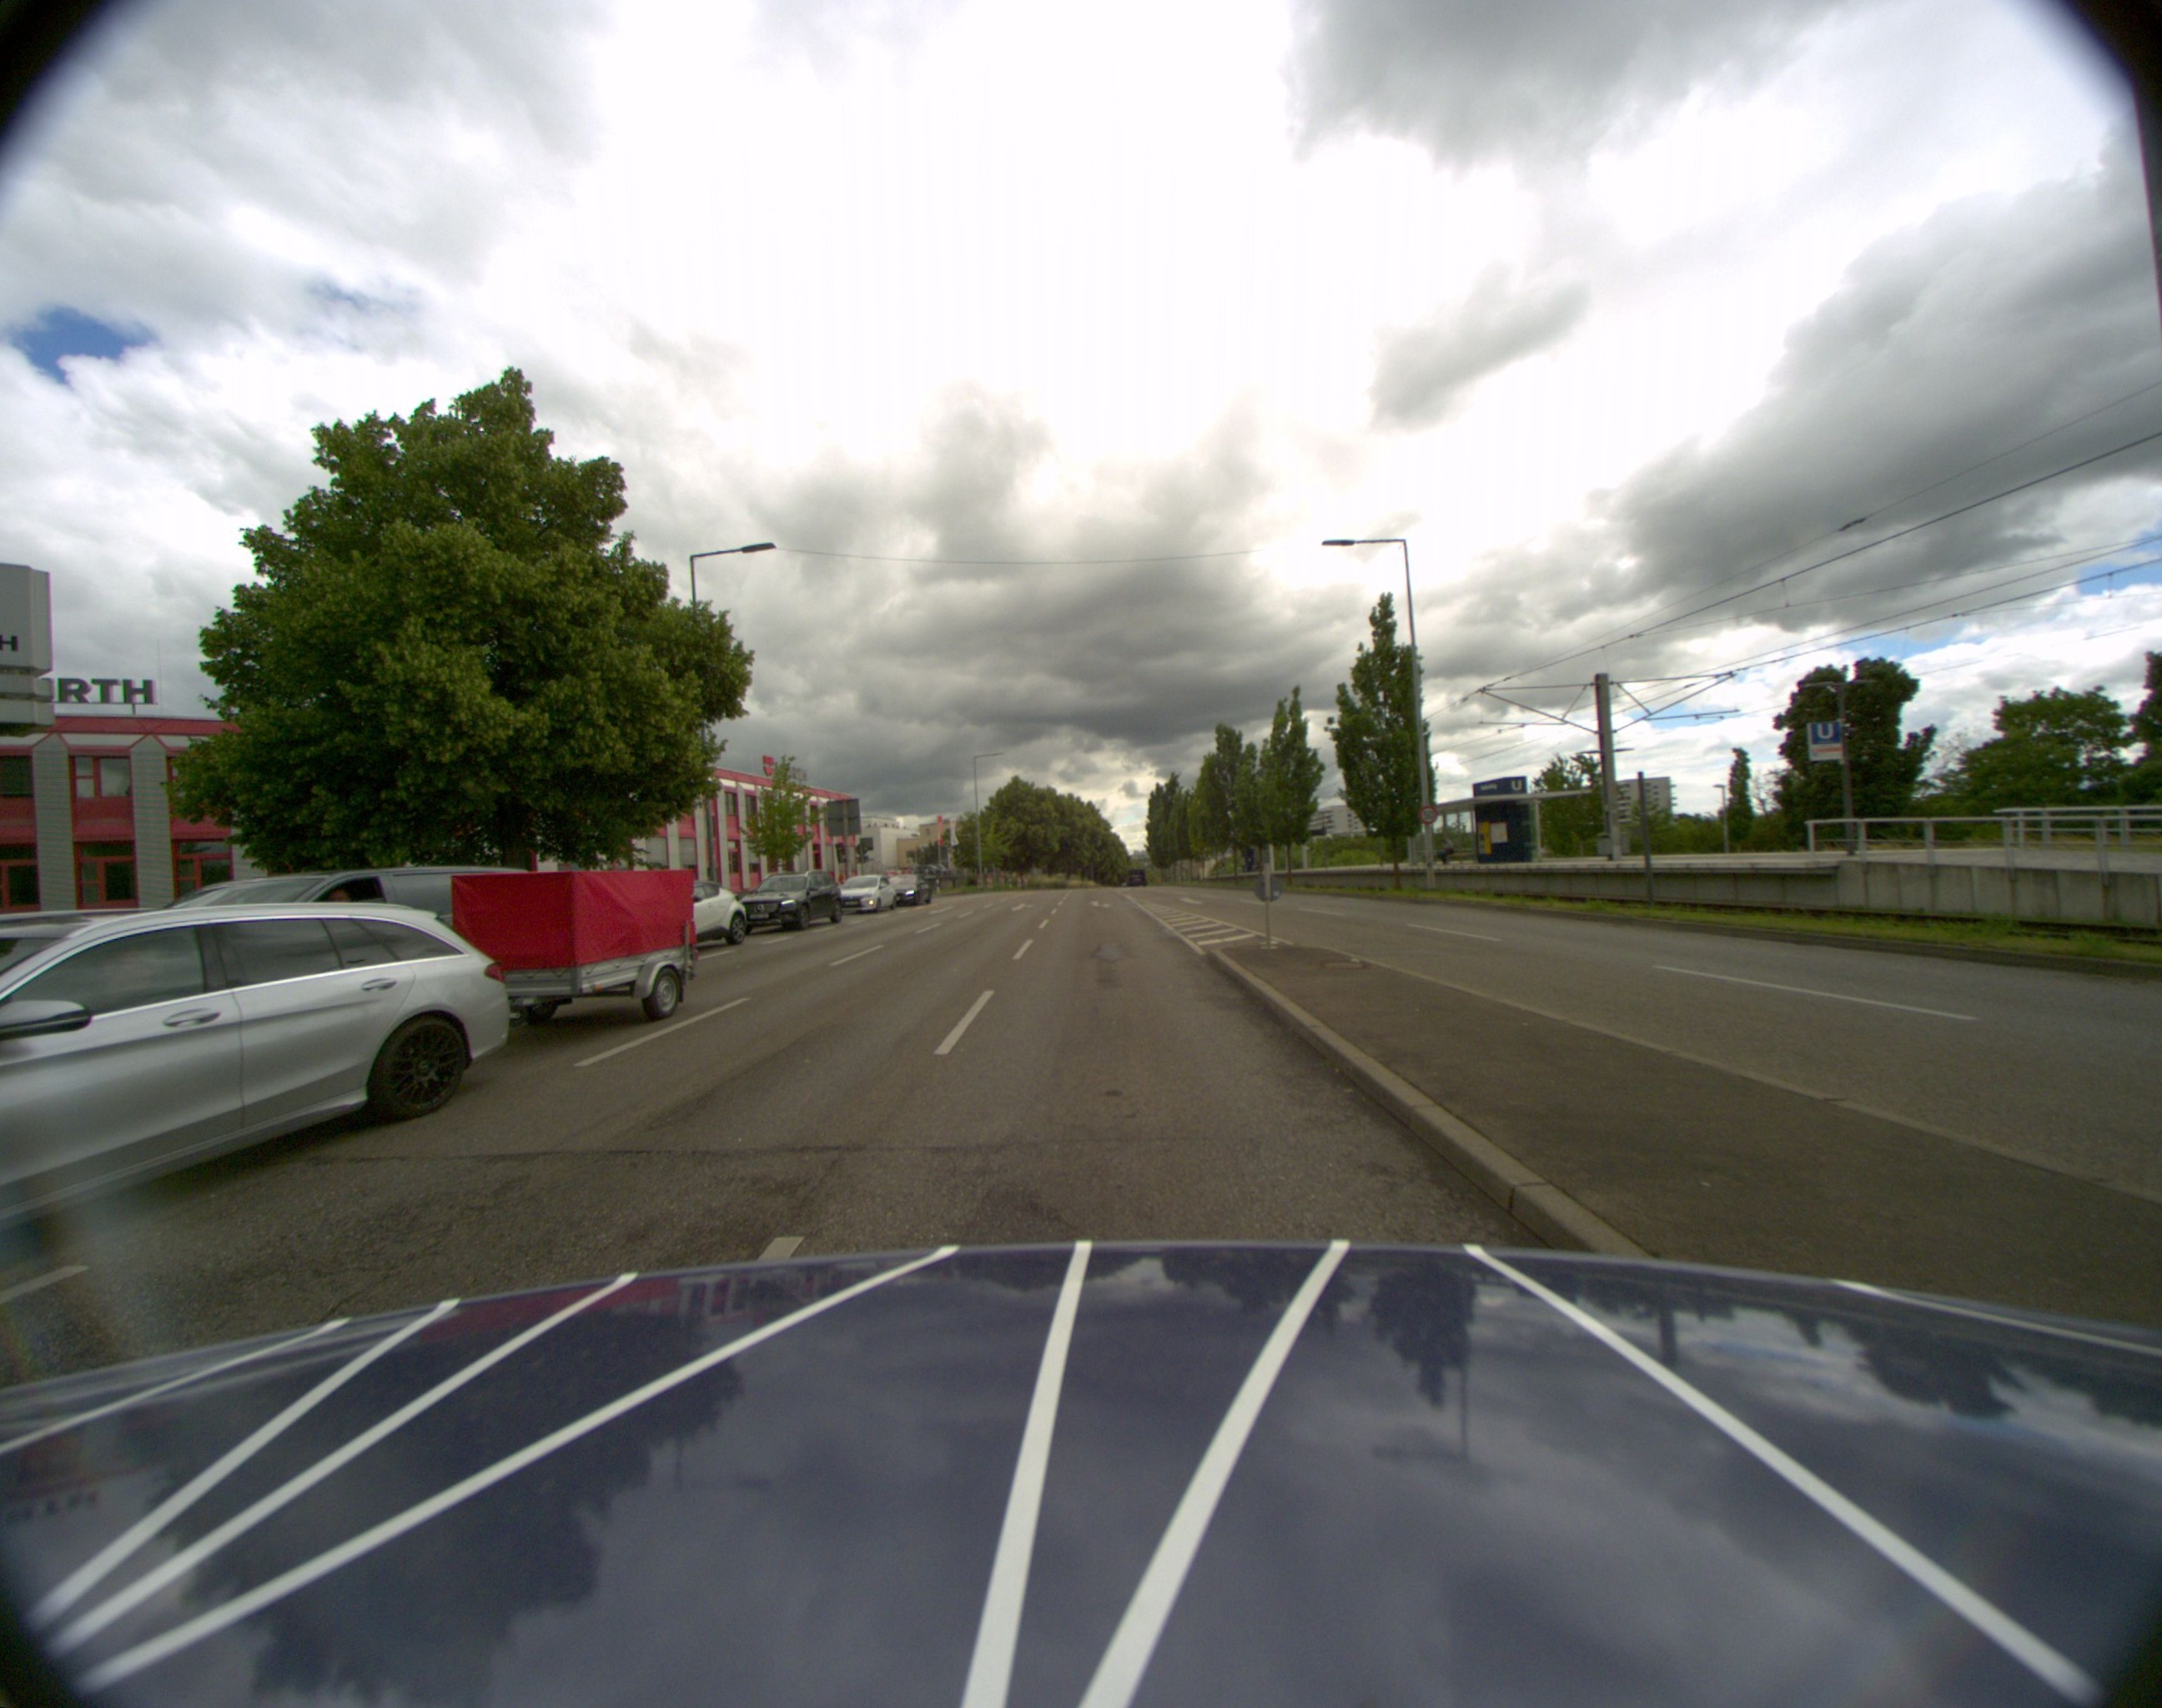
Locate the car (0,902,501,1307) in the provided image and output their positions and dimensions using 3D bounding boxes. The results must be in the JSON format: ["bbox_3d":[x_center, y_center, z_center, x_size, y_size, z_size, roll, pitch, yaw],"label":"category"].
[{"bbox_3d":[-5.263,1.137,3.430,1.775,1.442,4.401,-2,1,1],"label":"car"}]

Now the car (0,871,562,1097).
[{"bbox_3d":[-8.786,1.209,9.026,1.763,1.764,4.675,-5,0,2],"label":"car"}]

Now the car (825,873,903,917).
[{"bbox_3d":[-8.520,1.566,30.281,1.763,1.431,4.370,-3,0,0],"label":"car"}]

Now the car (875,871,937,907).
[{"bbox_3d":[-8.036,1.569,35.223,1.763,1.431,4.370,-3,0,0],"label":"car"}]

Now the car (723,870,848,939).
[{"bbox_3d":[-8.448,1.380,22.156,1.865,1.648,4.209,-4,-1,1],"label":"car"}]

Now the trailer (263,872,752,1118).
[{"bbox_3d":[-5.169,1.108,7.696,1.775,1.650,3.996,-2,1,1],"label":"trailer"}]

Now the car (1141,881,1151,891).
[{"bbox_3d":[12.224,6.029,142.490,1.760,1.519,3.601,-2,1,3],"label":"car"}]

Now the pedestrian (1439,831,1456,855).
[{"bbox_3d":[17.714,-0.521,36.721,0.601,1.148,0.447,-2,1,1],"label":"pedestrian"}]

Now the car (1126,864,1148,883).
[{"bbox_3d":[5.690,1.945,78.077,1.892,1.802,5.093,-2,-1,1],"label":"car"}]

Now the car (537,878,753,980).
[{"bbox_3d":[-8.597,1.389,15.483,1.844,1.507,4.106,-6,0,1],"label":"car"}]
